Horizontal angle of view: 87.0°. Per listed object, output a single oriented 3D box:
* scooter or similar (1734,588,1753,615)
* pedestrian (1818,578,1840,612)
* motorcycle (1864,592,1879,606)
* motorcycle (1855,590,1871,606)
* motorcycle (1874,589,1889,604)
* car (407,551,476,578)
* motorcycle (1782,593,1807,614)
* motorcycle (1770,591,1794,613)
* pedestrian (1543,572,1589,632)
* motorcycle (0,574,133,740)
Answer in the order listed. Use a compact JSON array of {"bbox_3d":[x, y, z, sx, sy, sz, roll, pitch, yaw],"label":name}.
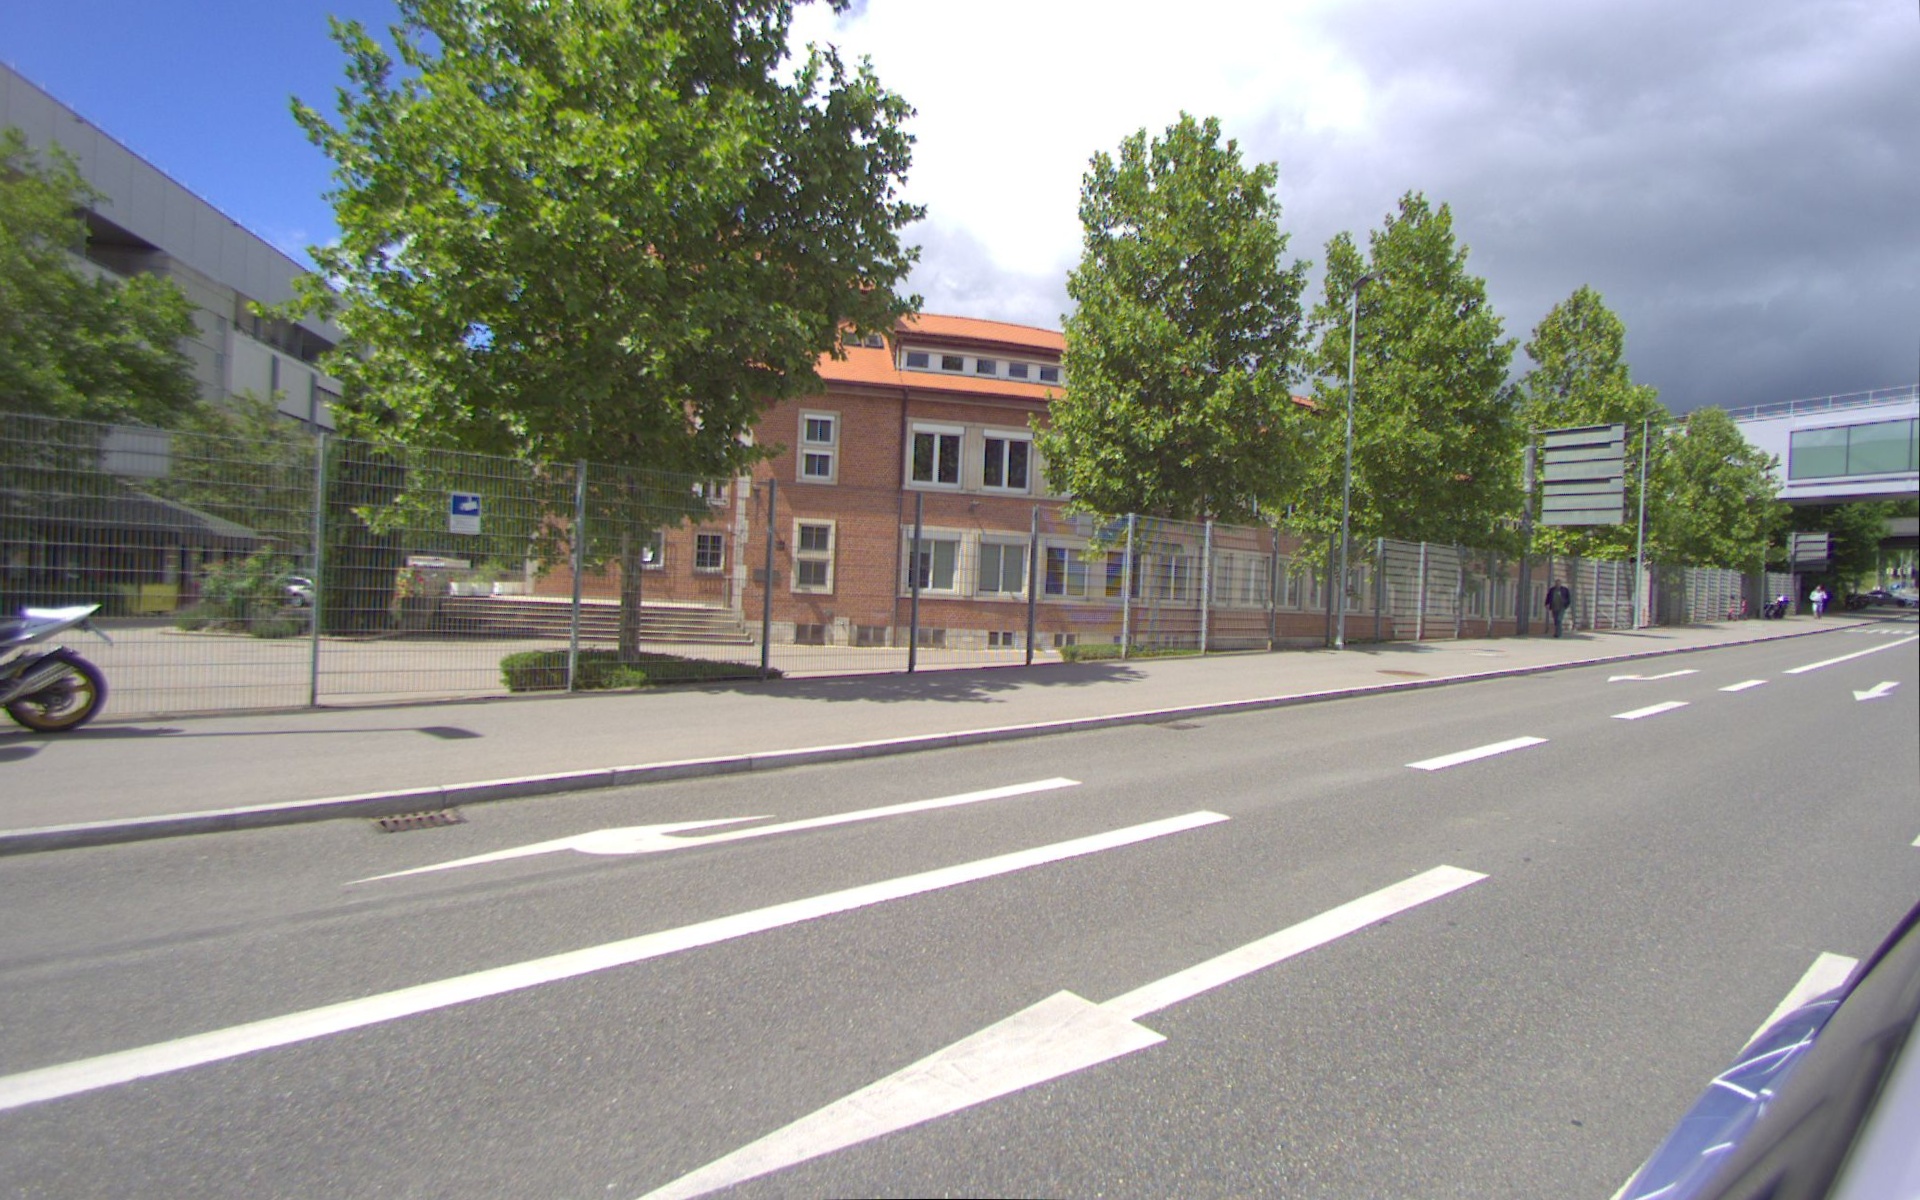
[{"bbox_3d":[39.010,0.073,50.377,1.314,1.310,0.492,0,3,-42],"label":"scooter or similar"},{"bbox_3d":[50.474,-0.289,58.808,1.078,1.911,0.790,0,2,-43],"label":"pedestrian"},{"bbox_3d":[71.228,-0.078,79.037,2.004,1.096,0.679,-1,2,-43],"label":"motorcycle"},{"bbox_3d":[68.461,-0.140,76.717,2.076,1.168,0.679,0,2,-41],"label":"motorcycle"},{"bbox_3d":[73.609,-0.287,80.848,2.144,1.096,0.679,-1,2,-43],"label":"motorcycle"},{"bbox_3d":[-35.901,-2.463,70.159,3.916,1.805,2.004,-1,1,-13],"label":"car"},{"bbox_3d":[46.850,0.183,56.821,2.467,1.077,0.709,-1,4,-43],"label":"motorcycle"},{"bbox_3d":[44.525,0.094,54.809,2.209,1.077,0.669,-1,4,-43],"label":"motorcycle"},{"bbox_3d":[18.526,0.037,30.929,0.924,1.764,0.879,0,3,-42],"label":"pedestrian"},{"bbox_3d":[-7.389,0.409,7.321,0.693,1.172,2.113,4,3,44],"label":"motorcycle"}]
